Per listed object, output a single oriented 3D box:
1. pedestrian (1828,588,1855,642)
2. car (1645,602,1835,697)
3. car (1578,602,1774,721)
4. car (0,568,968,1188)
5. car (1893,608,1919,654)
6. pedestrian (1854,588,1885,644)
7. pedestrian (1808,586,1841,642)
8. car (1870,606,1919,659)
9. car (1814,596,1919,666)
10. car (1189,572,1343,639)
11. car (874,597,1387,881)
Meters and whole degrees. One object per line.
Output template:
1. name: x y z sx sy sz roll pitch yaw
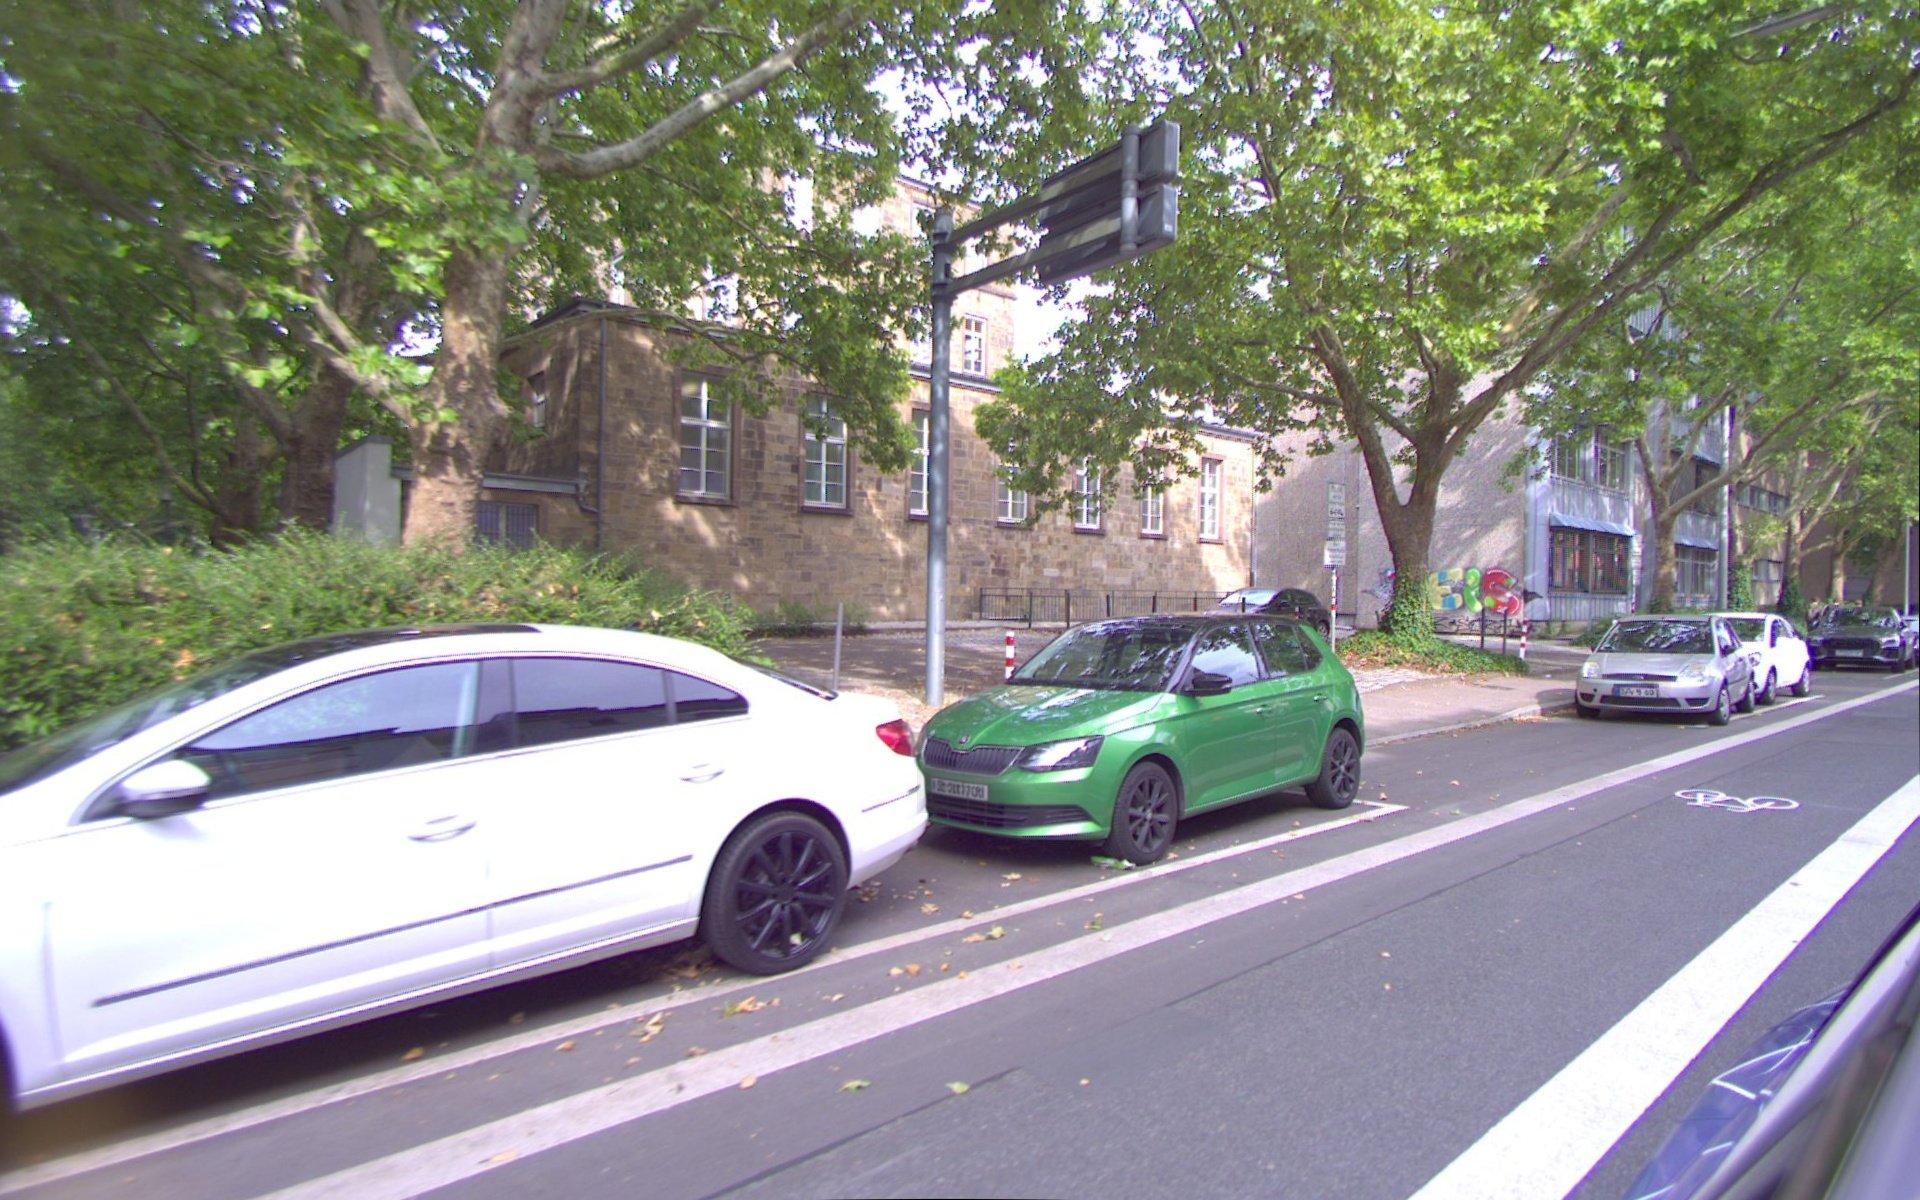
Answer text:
1. pedestrian: 29.883 0.499 34.296 0.518 1.806 0.502 0 4 -41
2. car: 13.659 0.776 17.638 4.143 1.466 1.757 0 -1 -40
3. car: 10.281 0.776 14.423 3.819 1.466 1.643 0 -1 -45
4. car: -2.170 0.709 3.877 4.467 1.535 1.682 0 -2 -43
5. car: 31.191 0.958 32.302 3.885 1.441 1.601 0 -1 -40
6. pedestrian: 30.343 0.514 33.762 0.468 1.806 0.592 0 4 -41
7. pedestrian: 29.771 0.472 34.865 0.634 1.855 0.643 0 4 -41
8. car: 27.957 0.907 29.389 4.492 1.451 1.642 0 -1 -40
9. car: 23.758 0.756 26.209 4.404 1.642 1.923 0 -1 -42
10. car: 7.603 0.177 24.910 4.223 1.468 1.671 3 -1 -42
11. car: 1.365 0.737 7.110 3.741 1.468 1.589 0 -2 -43
